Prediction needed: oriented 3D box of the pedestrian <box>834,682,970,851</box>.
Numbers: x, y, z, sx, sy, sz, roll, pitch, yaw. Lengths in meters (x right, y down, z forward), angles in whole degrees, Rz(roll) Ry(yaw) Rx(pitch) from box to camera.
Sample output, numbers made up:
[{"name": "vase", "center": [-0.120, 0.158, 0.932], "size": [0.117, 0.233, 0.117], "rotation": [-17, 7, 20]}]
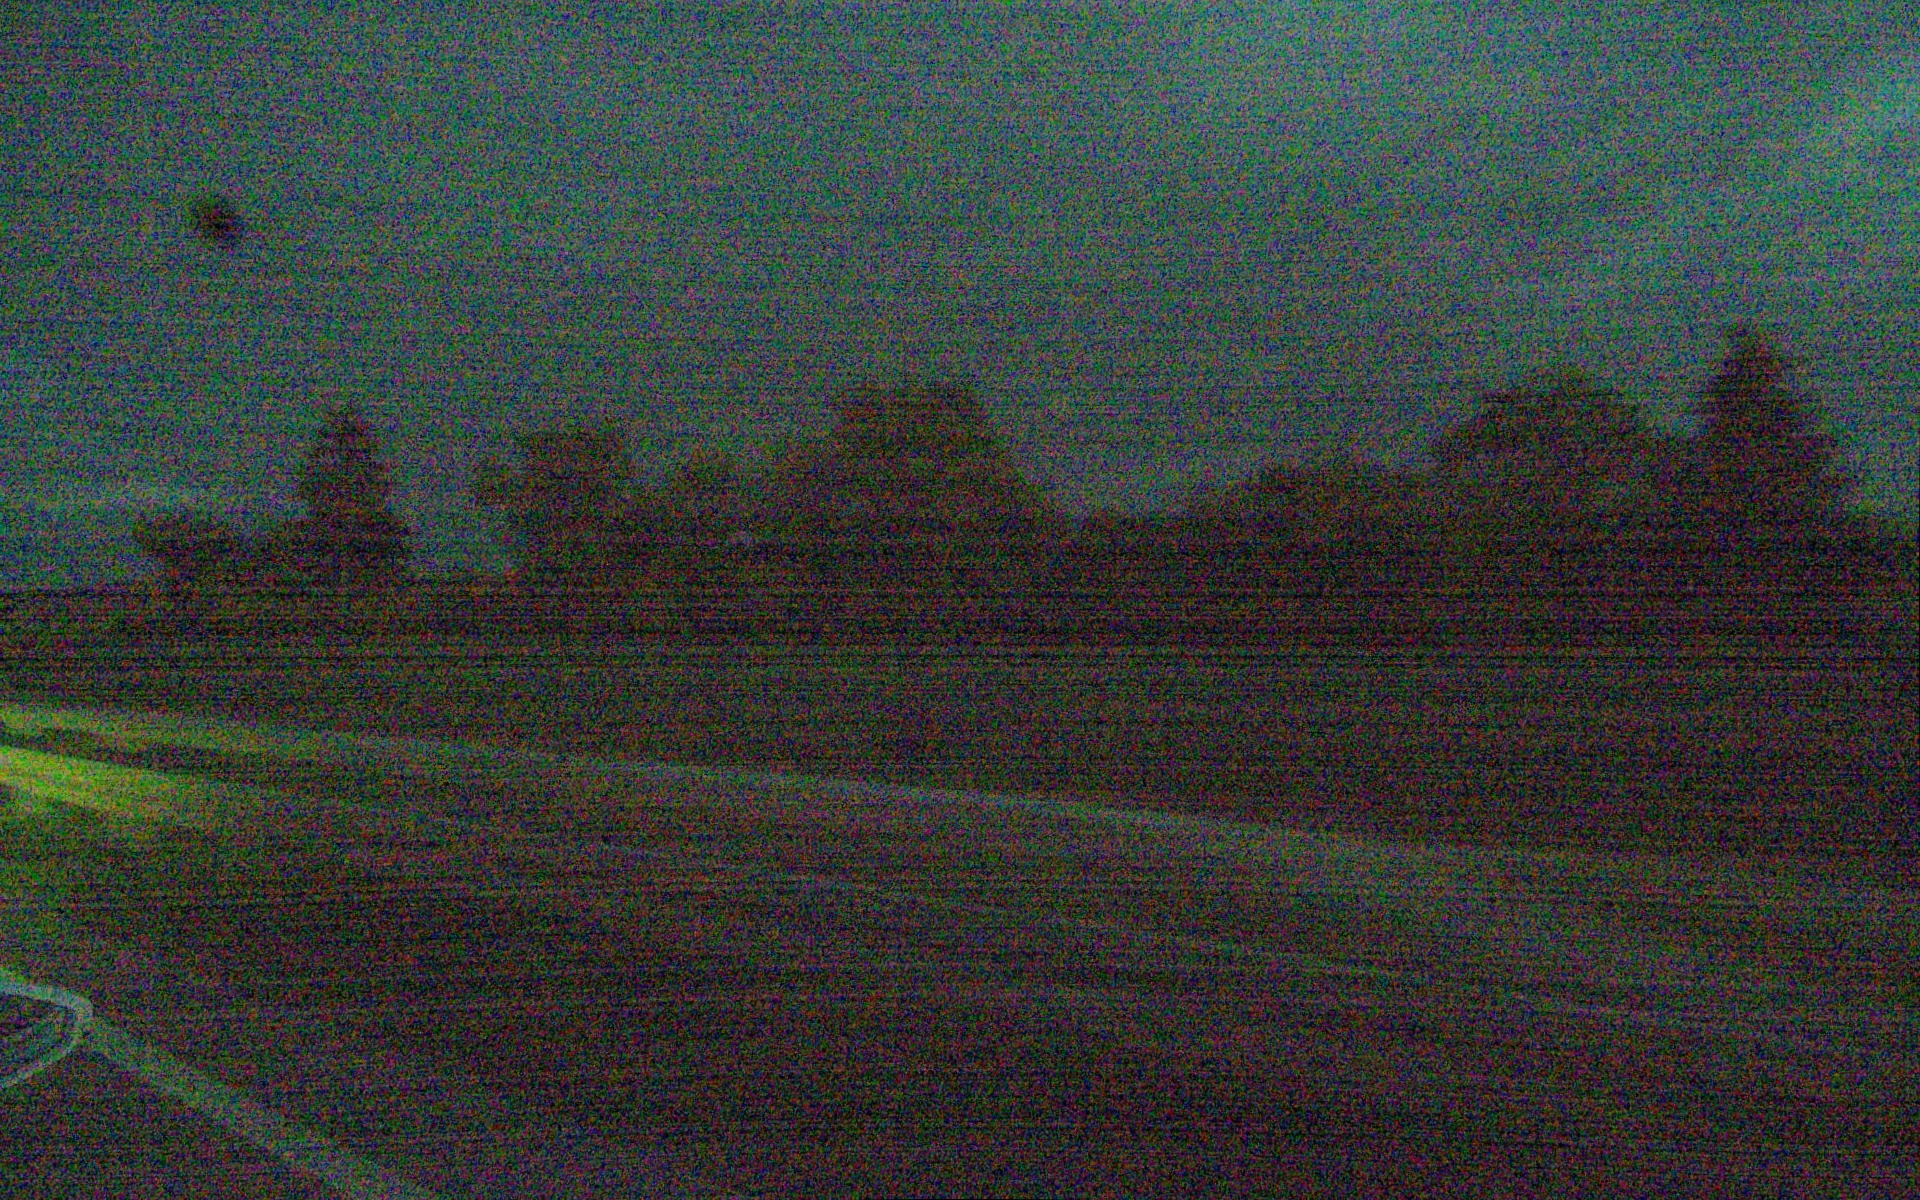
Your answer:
[{"name": "pedestrian", "center": [-0.629, 1.770, 11.041], "size": [1.102, 1.664, 1.060], "rotation": [-1, -1, 32]}]
